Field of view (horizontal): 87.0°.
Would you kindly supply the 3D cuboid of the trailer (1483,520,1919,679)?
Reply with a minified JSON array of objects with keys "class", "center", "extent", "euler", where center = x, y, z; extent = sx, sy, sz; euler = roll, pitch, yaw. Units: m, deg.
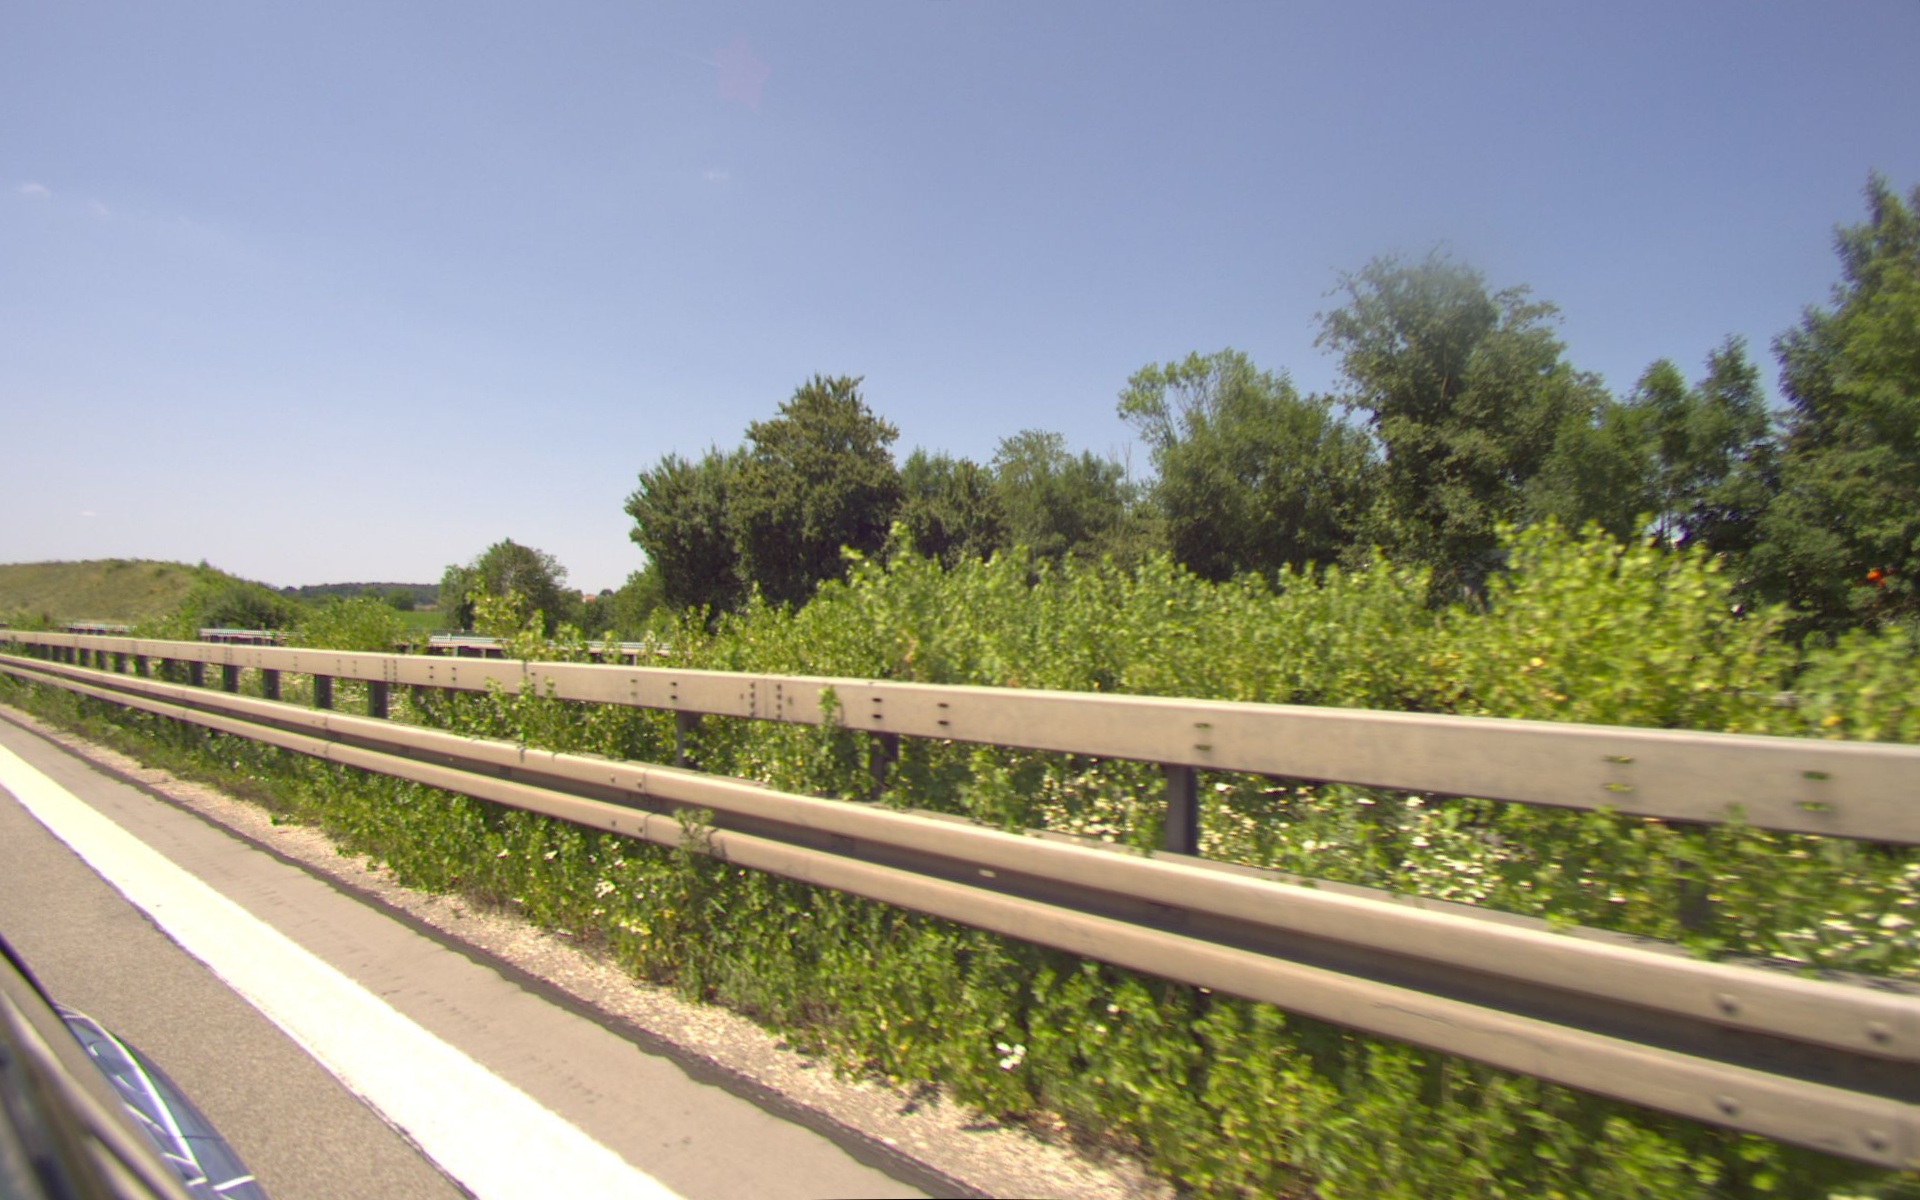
[{"class":"trailer","center":[19.900,0.018,26.261],"extent":[11.102,3.628,1.973],"euler":[-1,0,41]}]

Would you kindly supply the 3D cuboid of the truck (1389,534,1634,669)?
[{"class":"truck","center":[16.035,0.059,29.714],"extent":[6.020,3.590,1.973],"euler":[-1,0,41]}]
